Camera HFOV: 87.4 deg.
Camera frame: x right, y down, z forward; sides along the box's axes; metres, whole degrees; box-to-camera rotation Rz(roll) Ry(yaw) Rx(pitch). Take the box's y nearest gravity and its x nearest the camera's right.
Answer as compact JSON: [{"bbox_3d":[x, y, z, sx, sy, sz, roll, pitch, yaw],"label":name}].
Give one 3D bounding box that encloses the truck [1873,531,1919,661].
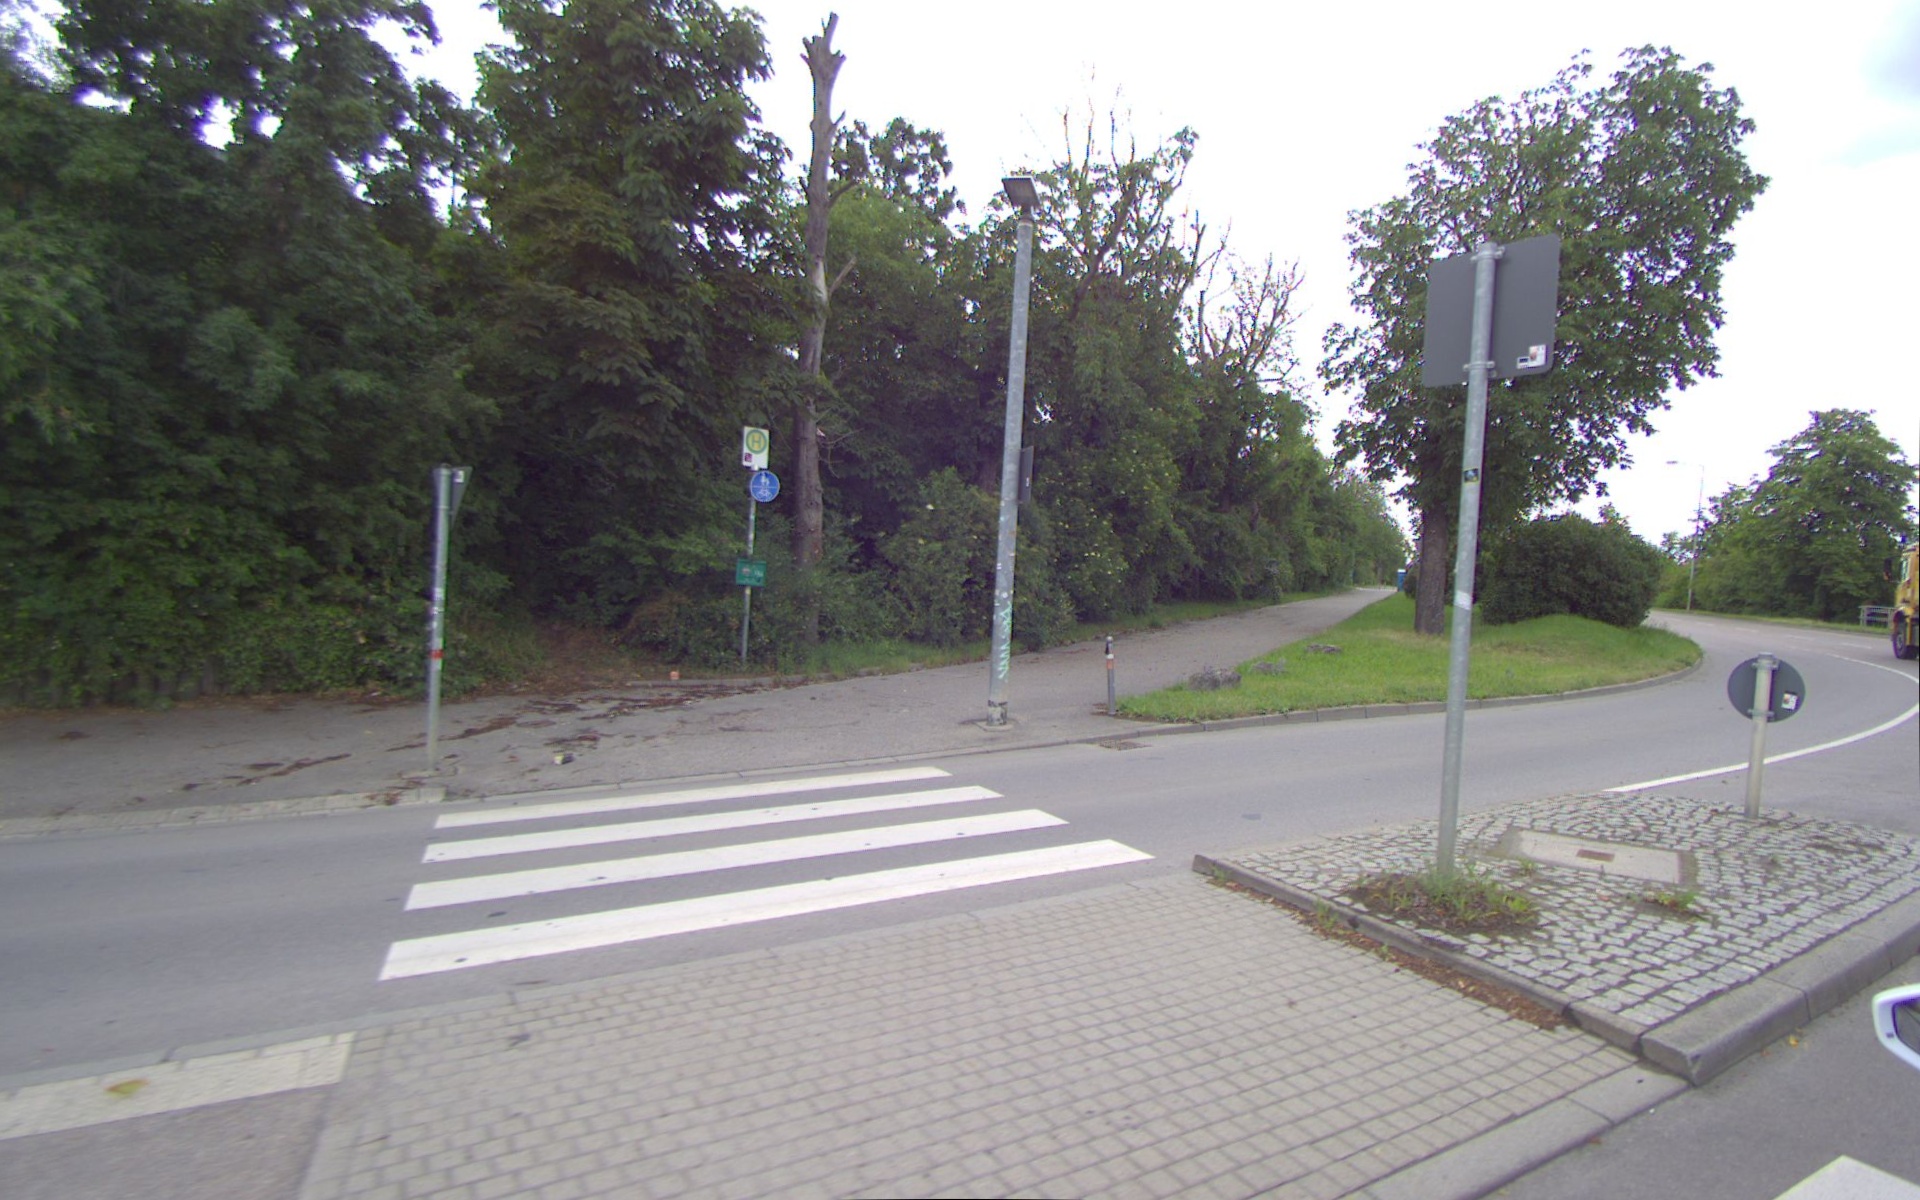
[{"bbox_3d":[27.498,-0.077,26.904,2.724,3.531,8.111,2,2,30],"label":"truck"}]
